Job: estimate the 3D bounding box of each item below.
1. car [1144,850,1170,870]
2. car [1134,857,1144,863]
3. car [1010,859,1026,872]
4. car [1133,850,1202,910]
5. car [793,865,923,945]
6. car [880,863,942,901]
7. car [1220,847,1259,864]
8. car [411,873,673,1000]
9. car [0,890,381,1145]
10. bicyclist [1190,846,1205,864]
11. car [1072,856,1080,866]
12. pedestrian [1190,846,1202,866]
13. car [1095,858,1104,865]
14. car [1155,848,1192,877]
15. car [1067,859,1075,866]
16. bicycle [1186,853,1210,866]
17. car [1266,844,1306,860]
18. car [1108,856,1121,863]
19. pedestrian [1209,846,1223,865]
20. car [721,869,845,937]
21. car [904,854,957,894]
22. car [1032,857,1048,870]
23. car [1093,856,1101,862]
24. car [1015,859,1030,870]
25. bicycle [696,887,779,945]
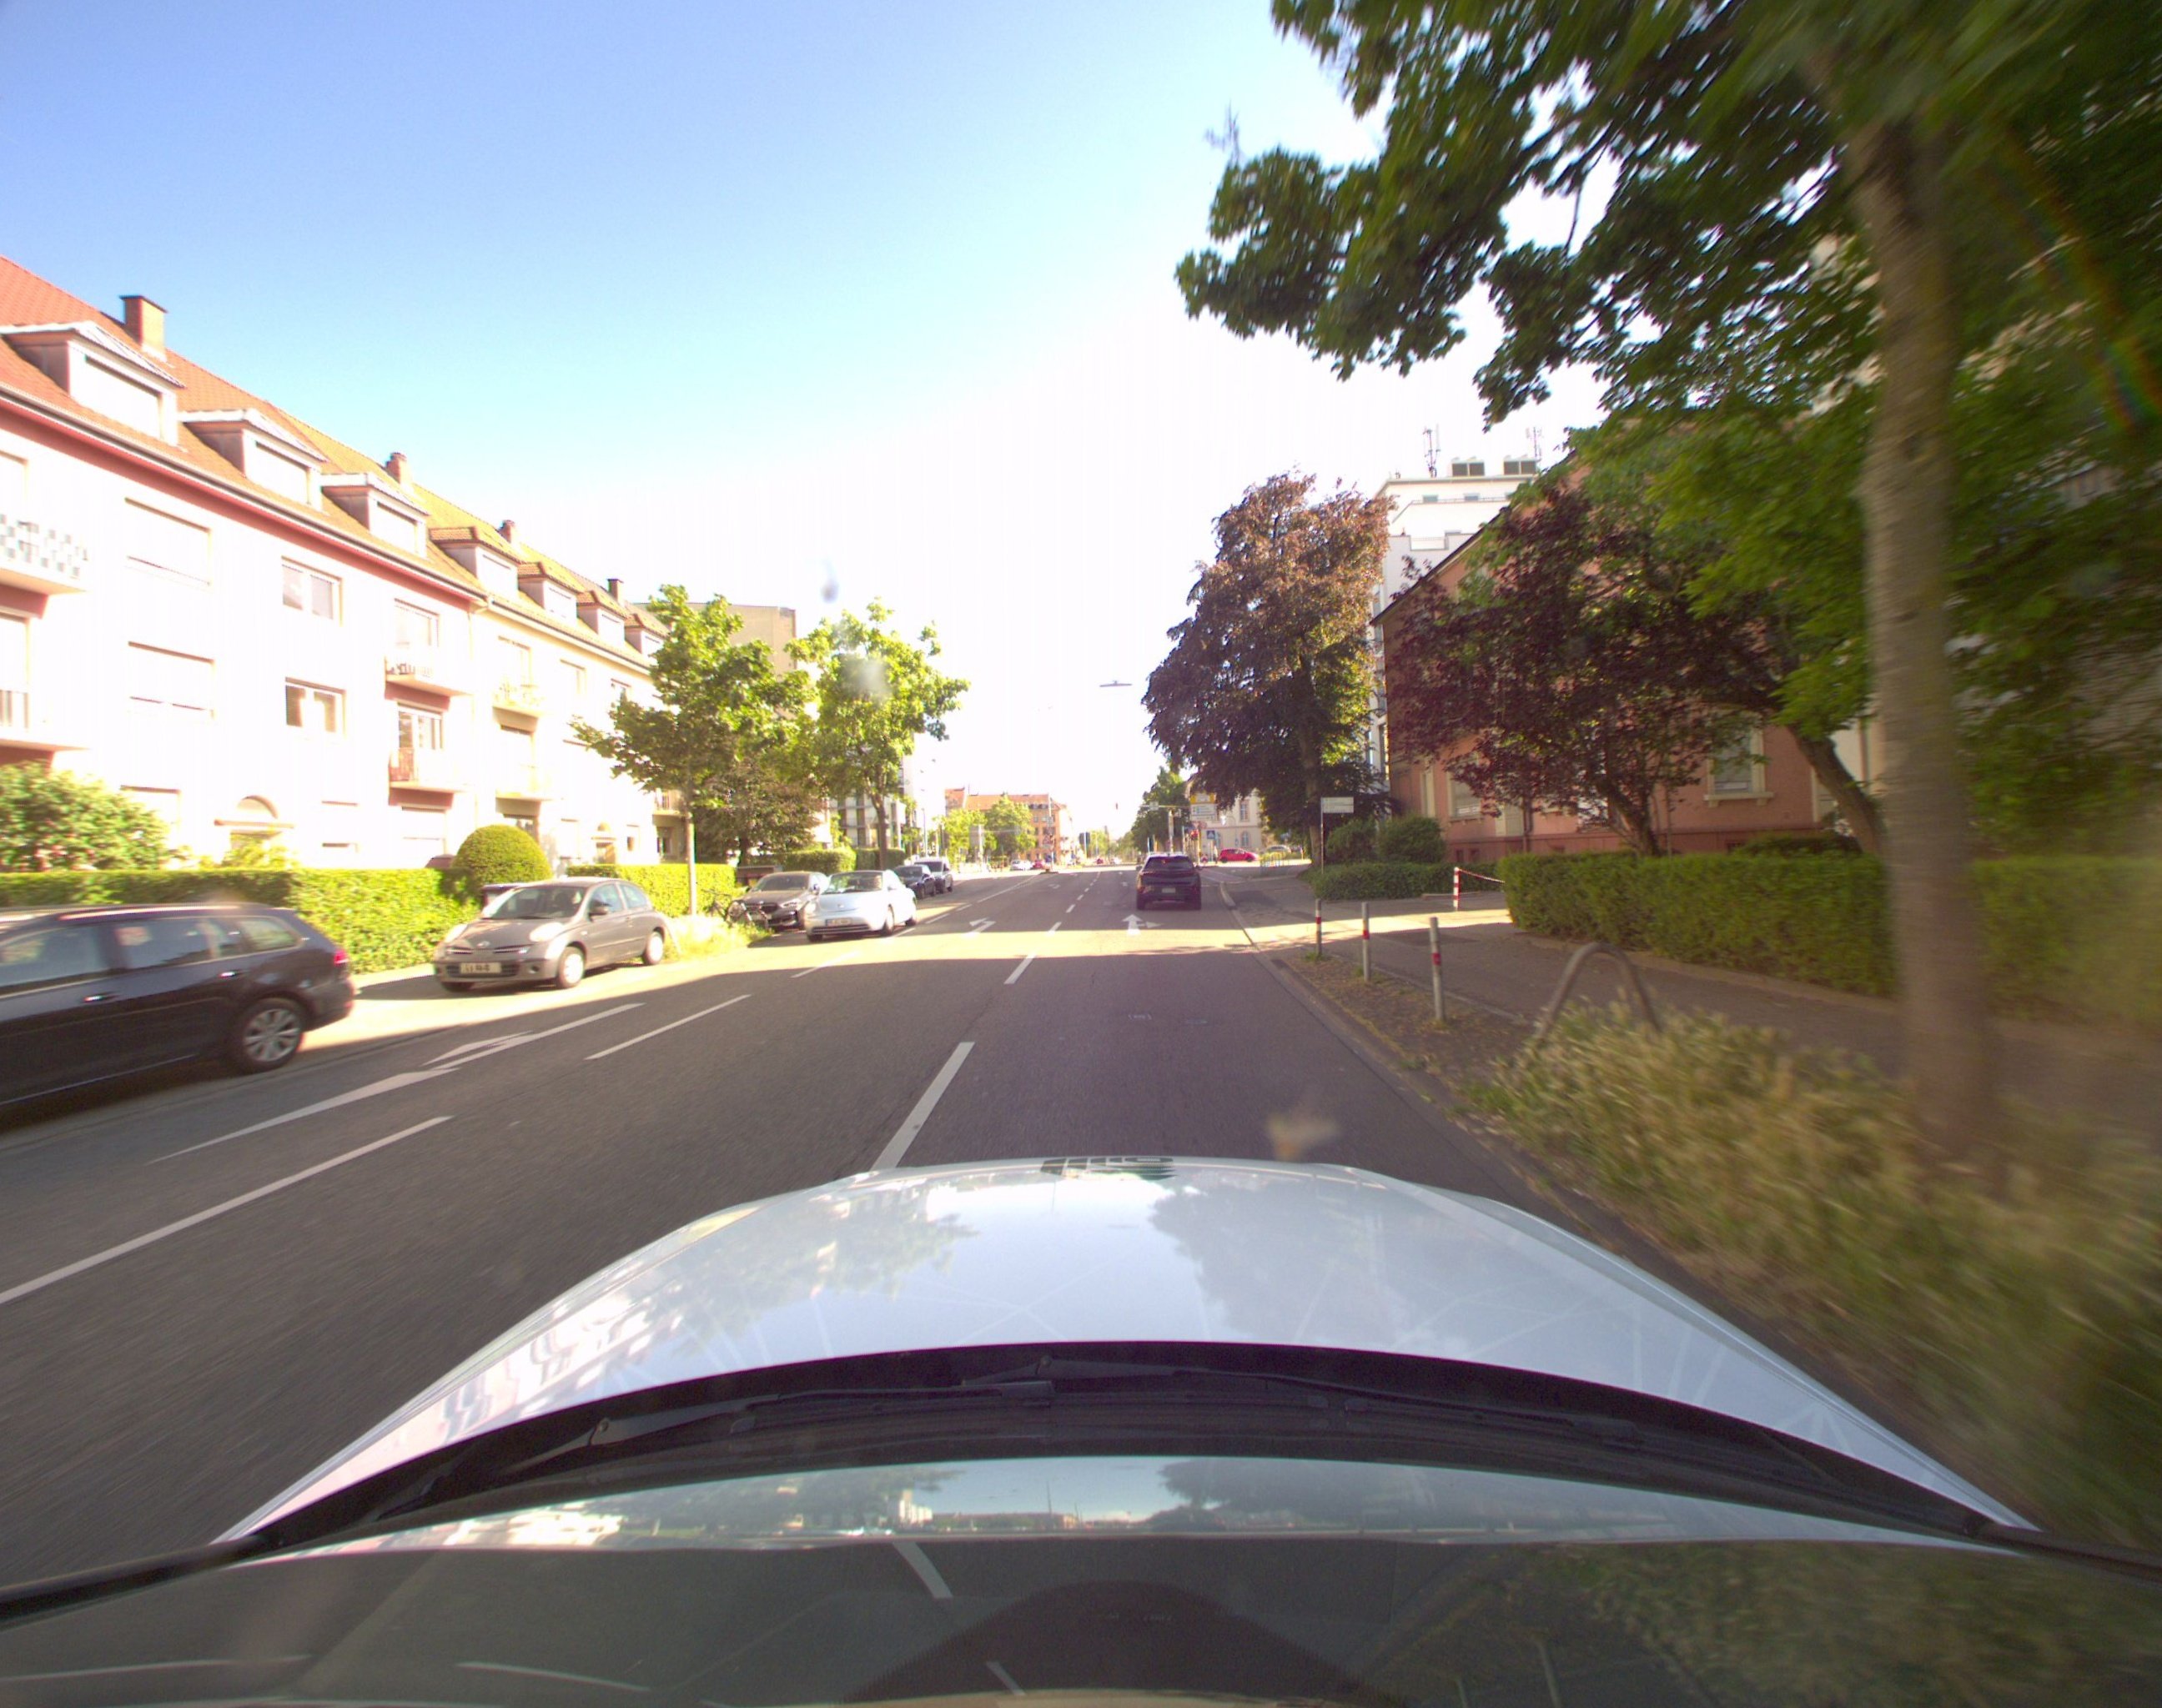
[{"bbox_3d":[6.093,0.452,65.682,1.823,1.452,3.989,-3,0,1],"label":"car"},{"bbox_3d":[15.510,1.521,217.892,1.846,1.660,4.019,0,0,18],"label":"car"},{"bbox_3d":[-8.651,1.546,112.058,1.868,1.617,4.001,-3,0,1],"label":"car"},{"bbox_3d":[2.397,0.693,23.354,1.738,1.573,3.560,-1,0,3],"label":"car"},{"bbox_3d":[-4.826,1.040,18.196,1.732,1.381,3.936,-4,0,0],"label":"car"},{"bbox_3d":[-7.385,1.184,35.789,1.665,1.456,4.112,-2,0,2],"label":"car"},{"bbox_3d":[16.071,0.137,82.648,3.847,1.452,1.783,-3,0,11],"label":"car"},{"bbox_3d":[-7.923,1.110,12.425,1.671,1.525,3.655,-1,0,-3],"label":"car"},{"bbox_3d":[-7.862,1.157,5.821,1.780,1.493,4.492,-2,0,0],"label":"car"},{"bbox_3d":[10.692,0.090,74.715,1.166,1.633,0.726,-2,0,-14],"label":"bicyclist"},{"bbox_3d":[-1.180,1.693,189.340,1.804,2.134,4.001,-3,0,1],"label":"car"},{"bbox_3d":[10.187,0.164,72.420,0.824,1.702,0.916,-2,0,-4],"label":"pedestrian"},{"bbox_3d":[4.241,1.763,185.748,1.803,1.407,4.001,-3,0,2],"label":"car"},{"bbox_3d":[5.494,0.507,48.853,1.823,1.578,3.840,-3,0,1],"label":"car"},{"bbox_3d":[-2.434,2.066,197.035,1.868,1.448,4.001,-3,0,1],"label":"car"},{"bbox_3d":[10.744,0.491,74.737,2.035,1.061,0.619,-2,0,-15],"label":"bicycle"},{"bbox_3d":[23.920,-0.263,94.915,4.109,1.601,1.819,-3,0,-6],"label":"car"},{"bbox_3d":[8.146,1.338,199.573,2.159,1.698,4.017,-3,0,16],"label":"car"},{"bbox_3d":[12.171,0.167,73.346,1.039,1.659,0.783,-3,0,-4],"label":"pedestrian"},{"bbox_3d":[-7.593,1.179,21.226,1.763,1.408,4.362,-2,0,-3],"label":"car"},{"bbox_3d":[-7.520,0.960,41.096,1.813,1.834,4.560,-2,0,-1],"label":"car"},{"bbox_3d":[-5.585,1.290,110.204,1.784,1.617,4.001,-3,0,1],"label":"car"},{"bbox_3d":[4.080,1.281,207.755,1.804,1.634,4.001,-3,0,1],"label":"car"},{"bbox_3d":[-8.926,1.595,125.437,1.868,1.448,4.001,-3,0,1],"label":"car"},{"bbox_3d":[-7.594,1.362,18.041,1.539,1.134,0.548,-3,0,-1],"label":"bicycle"}]
